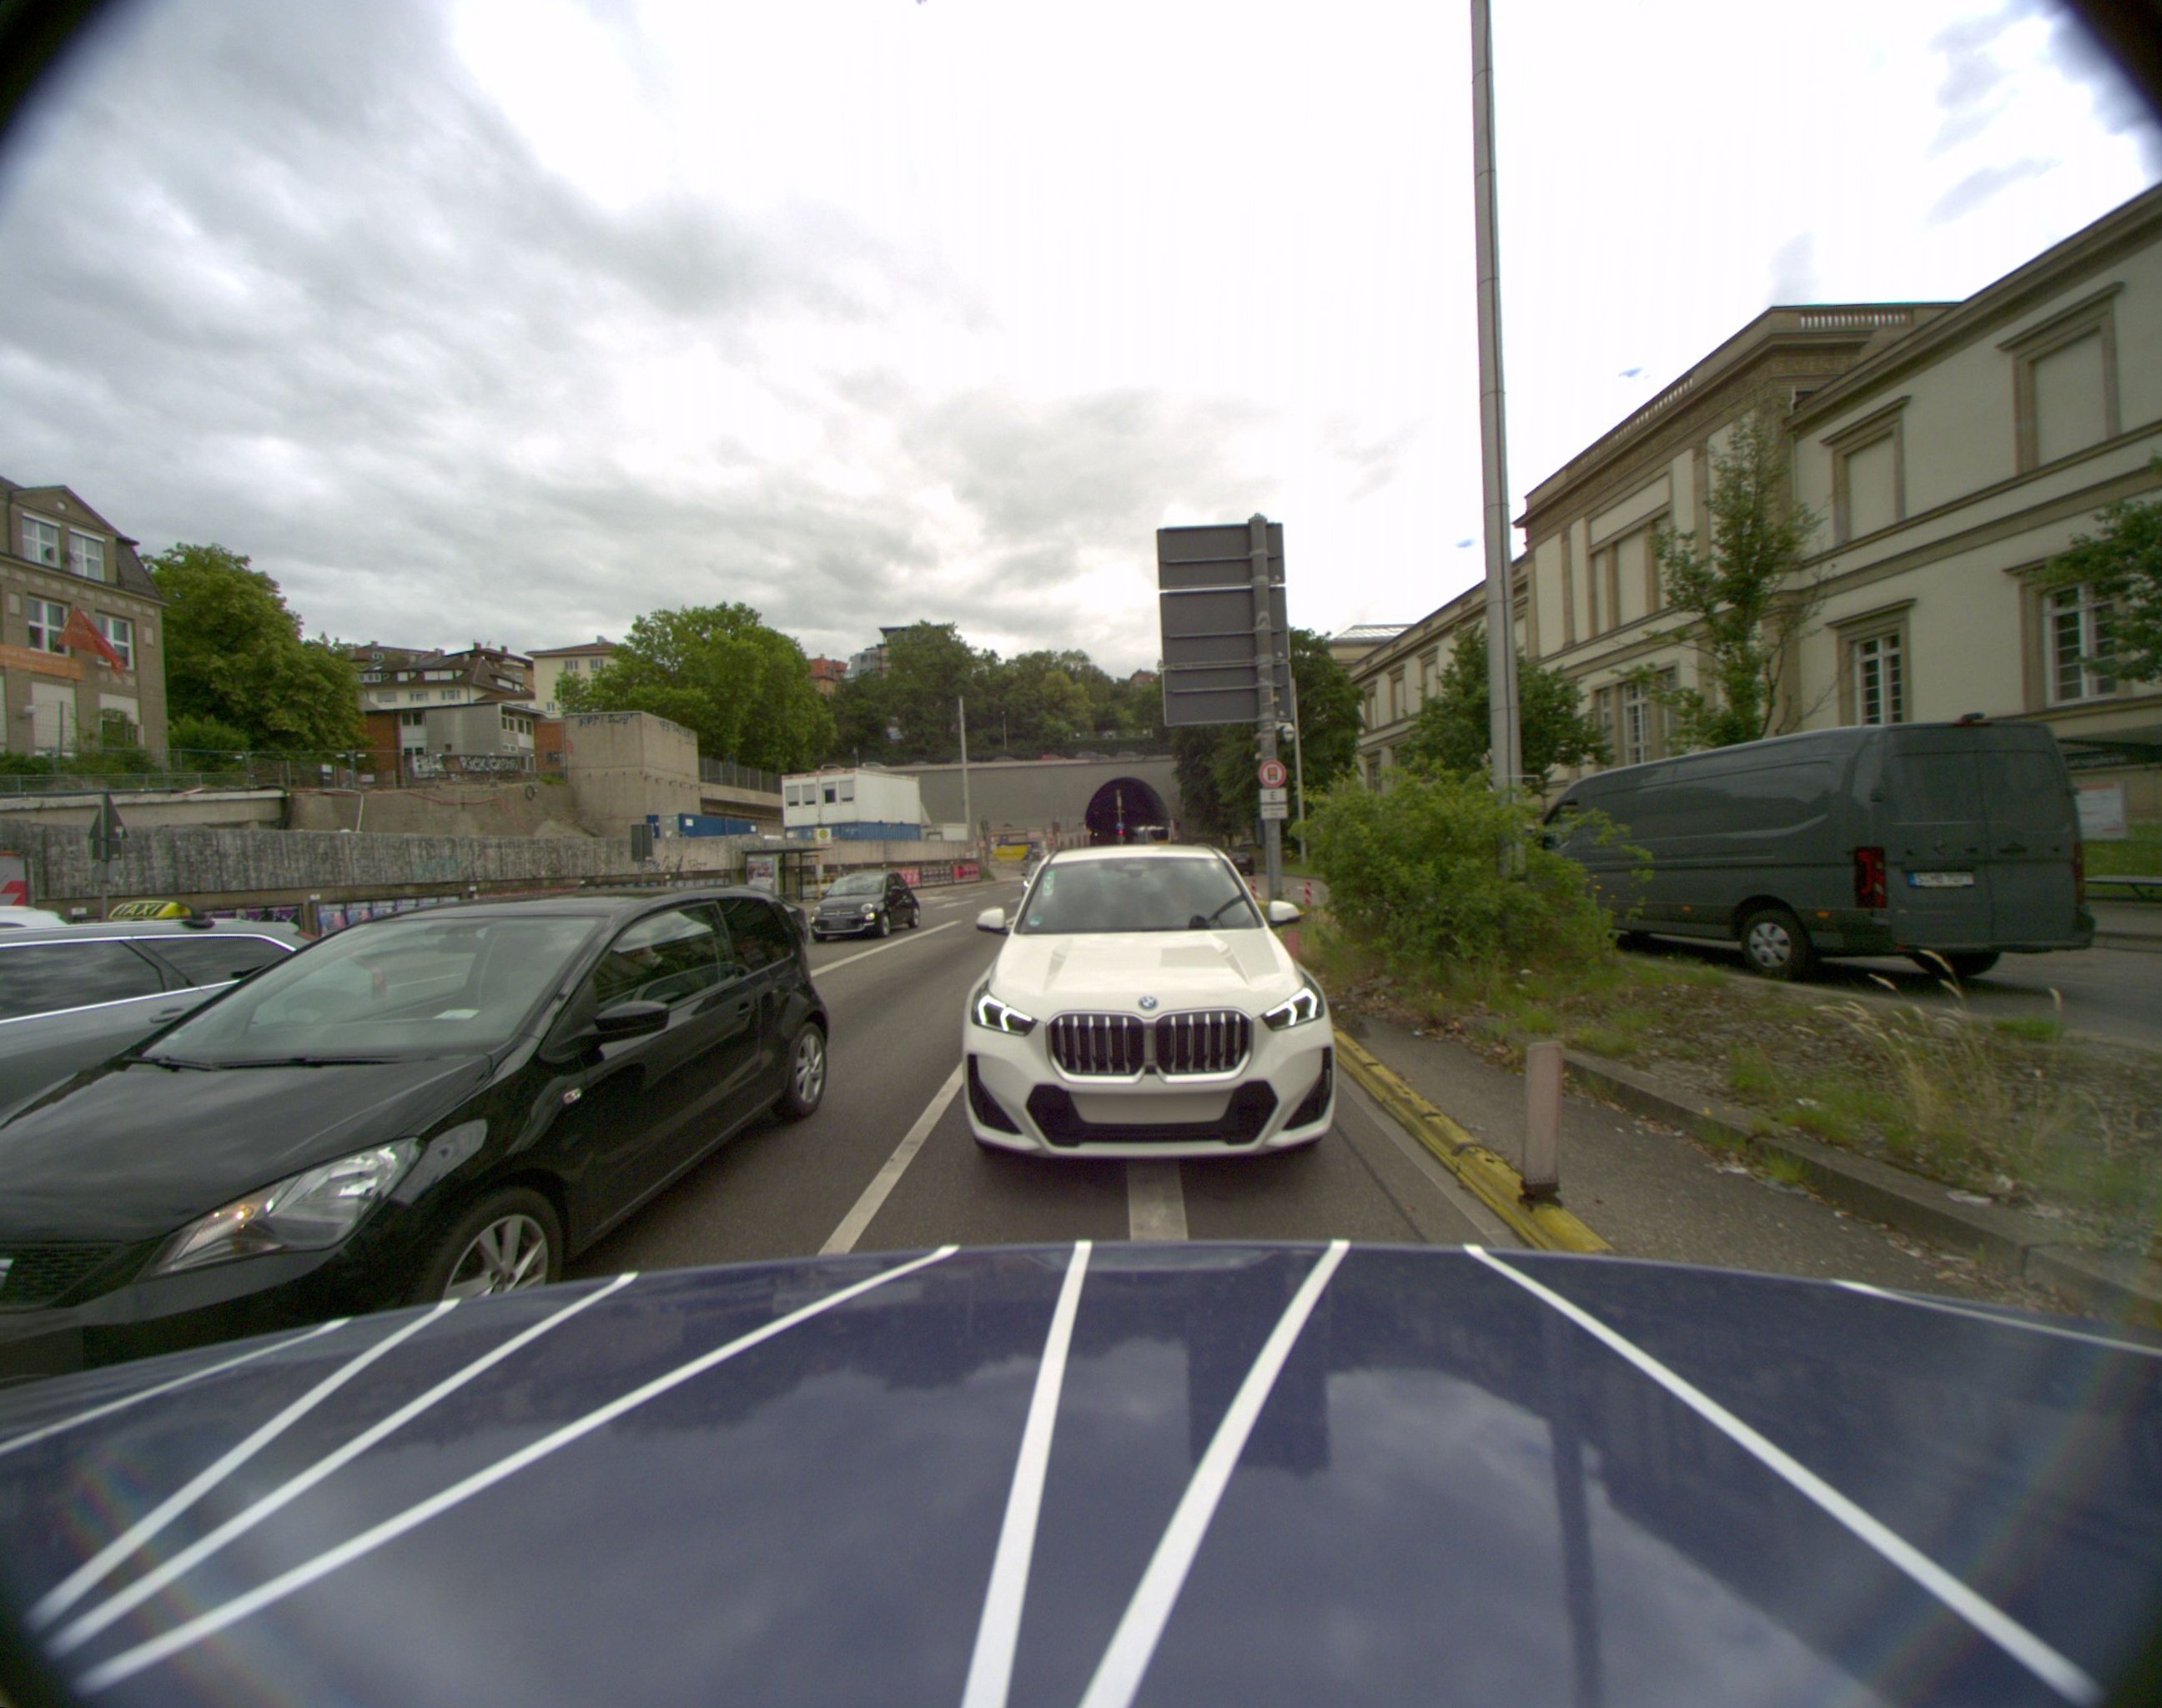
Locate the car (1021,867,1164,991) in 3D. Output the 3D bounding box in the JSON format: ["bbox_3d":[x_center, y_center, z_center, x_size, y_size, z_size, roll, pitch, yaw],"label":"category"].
[{"bbox_3d":[0.232,0.994,11.603,1.756,1.427,3.911,-2,0,3],"label":"car"}]

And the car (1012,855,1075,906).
[{"bbox_3d":[-1.255,0.899,27.309,1.948,1.565,3.999,-2,1,1],"label":"car"}]

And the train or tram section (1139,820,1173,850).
[{"bbox_3d":[8.128,-2.015,83.632,2.700,3.053,9.336,-1,0,0],"label":"train or tram section"}]

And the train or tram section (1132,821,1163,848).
[{"bbox_3d":[7.994,-2.305,93.036,2.701,3.053,9.375,-1,0,-2],"label":"train or tram section"}]

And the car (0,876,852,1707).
[{"bbox_3d":[-2.520,0.982,3.280,1.661,1.547,3.911,-2,1,3],"label":"car"}]

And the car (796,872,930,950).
[{"bbox_3d":[-4.919,1.230,17.711,1.720,1.450,3.782,-3,0,4],"label":"car"}]

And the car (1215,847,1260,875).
[{"bbox_3d":[9.718,0.387,47.402,1.884,1.616,4.370,-2,1,0],"label":"car"}]

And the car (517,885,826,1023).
[{"bbox_3d":[-5.389,1.230,10.765,1.826,1.356,4.219,-2,0,4],"label":"car"}]

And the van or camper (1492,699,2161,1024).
[{"bbox_3d":[7.838,0.073,9.303,2.158,2.594,6.083,-2,0,-1],"label":"van or camper"}]

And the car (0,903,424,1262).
[{"bbox_3d":[-5.814,1.147,3.460,1.826,1.457,4.217,-2,1,2],"label":"car"}]

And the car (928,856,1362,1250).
[{"bbox_3d":[0.349,0.851,5.127,1.756,1.547,3.911,-2,1,3],"label":"car"}]

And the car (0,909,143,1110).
[{"bbox_3d":[-9.141,1.263,4.584,1.826,1.457,4.073,-2,1,0],"label":"car"}]
